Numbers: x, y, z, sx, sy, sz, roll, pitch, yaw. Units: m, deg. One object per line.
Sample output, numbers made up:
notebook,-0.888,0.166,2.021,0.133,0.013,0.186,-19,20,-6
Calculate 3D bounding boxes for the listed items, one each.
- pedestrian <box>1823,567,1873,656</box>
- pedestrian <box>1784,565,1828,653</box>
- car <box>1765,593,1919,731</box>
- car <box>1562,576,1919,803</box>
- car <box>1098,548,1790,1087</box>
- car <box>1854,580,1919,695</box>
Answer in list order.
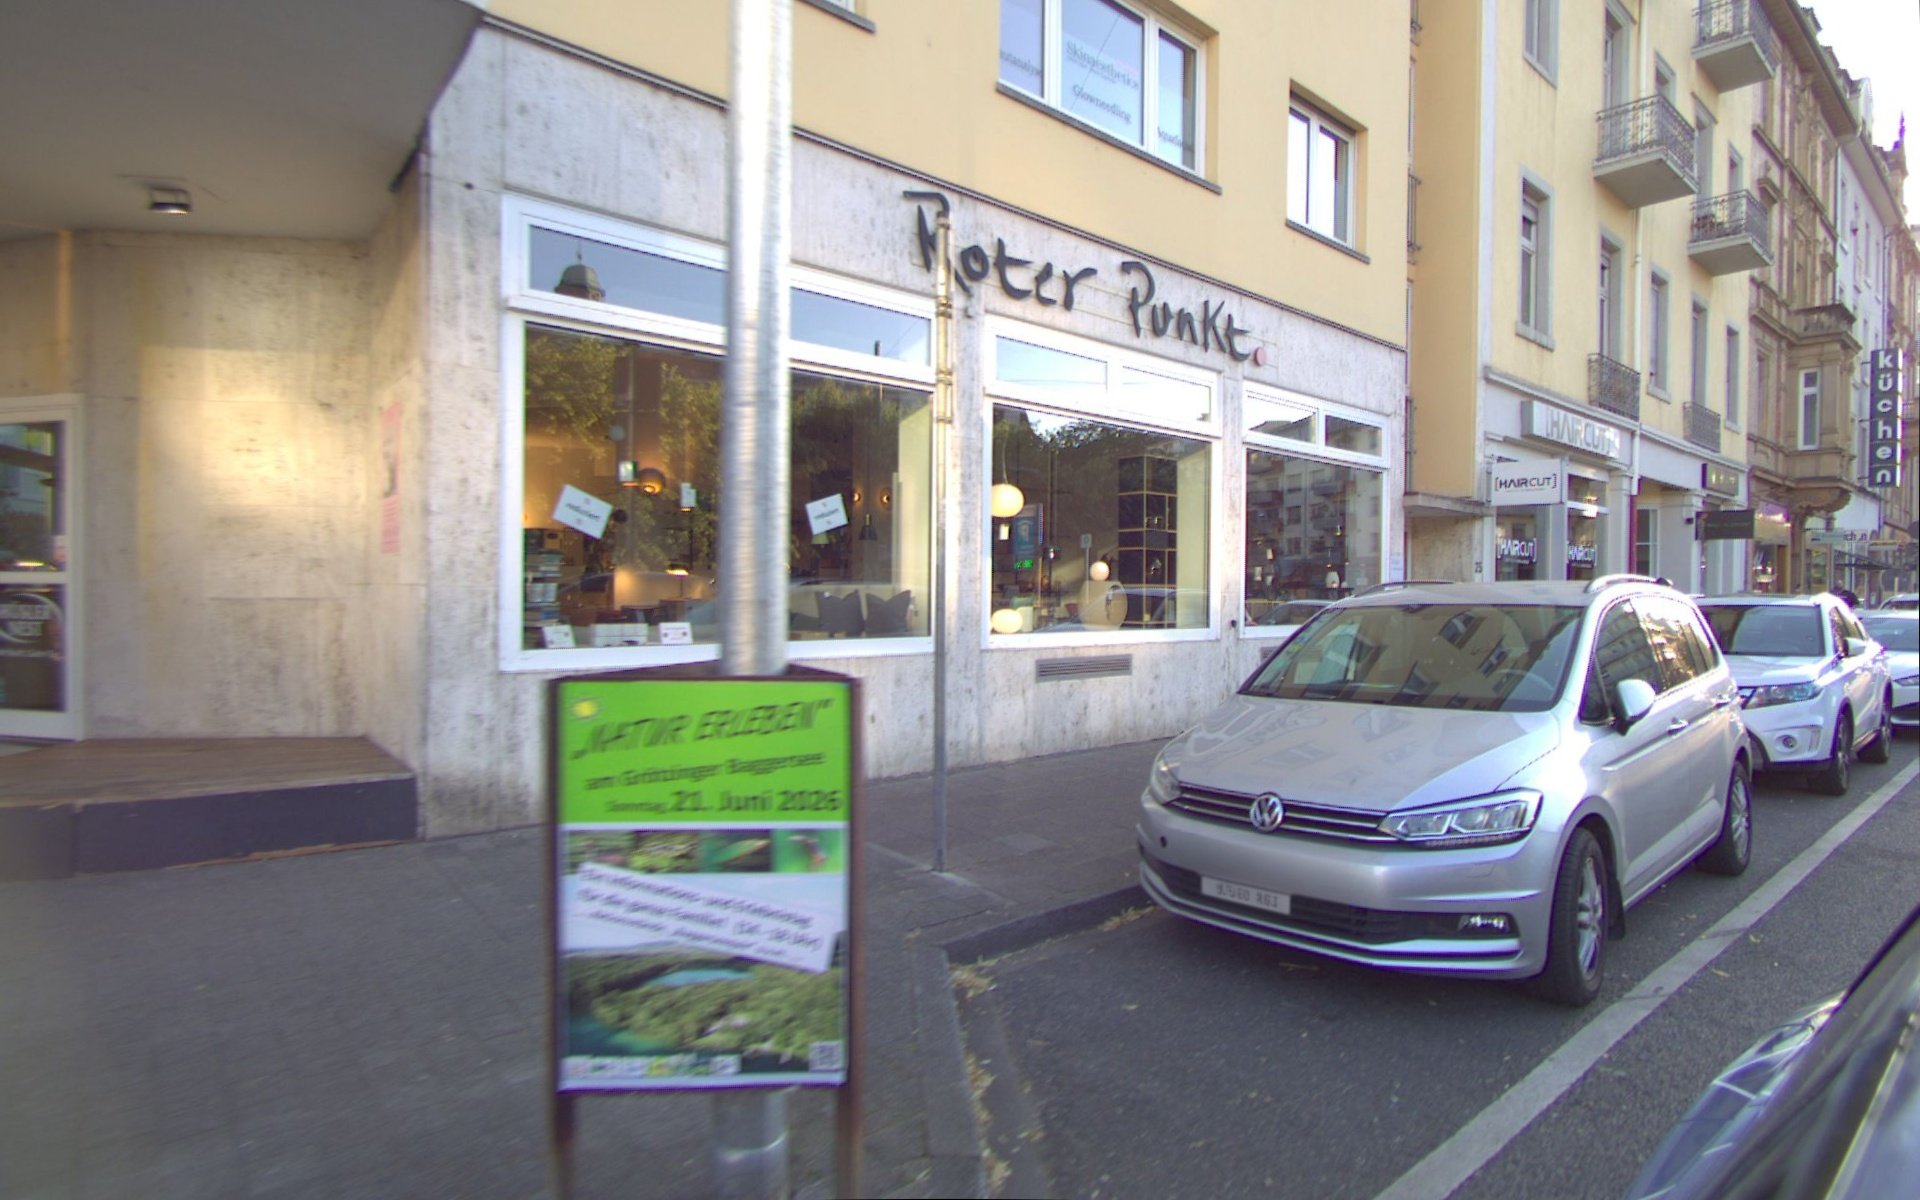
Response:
pedestrian,20.851,0.247,23.764,0.836,2.039,0.763,0,0,-40
pedestrian,20.057,0.206,23.988,0.836,2.039,0.673,0,0,-40
car,11.758,0.661,12.720,4.529,1.475,1.737,0,1,-40
car,7.323,0.625,9.334,4.129,1.641,1.820,0,1,-40
car,2.844,0.641,5.278,4.603,1.637,1.699,0,1,-43
car,16.004,0.546,16.263,4.352,1.695,1.876,0,1,-40
